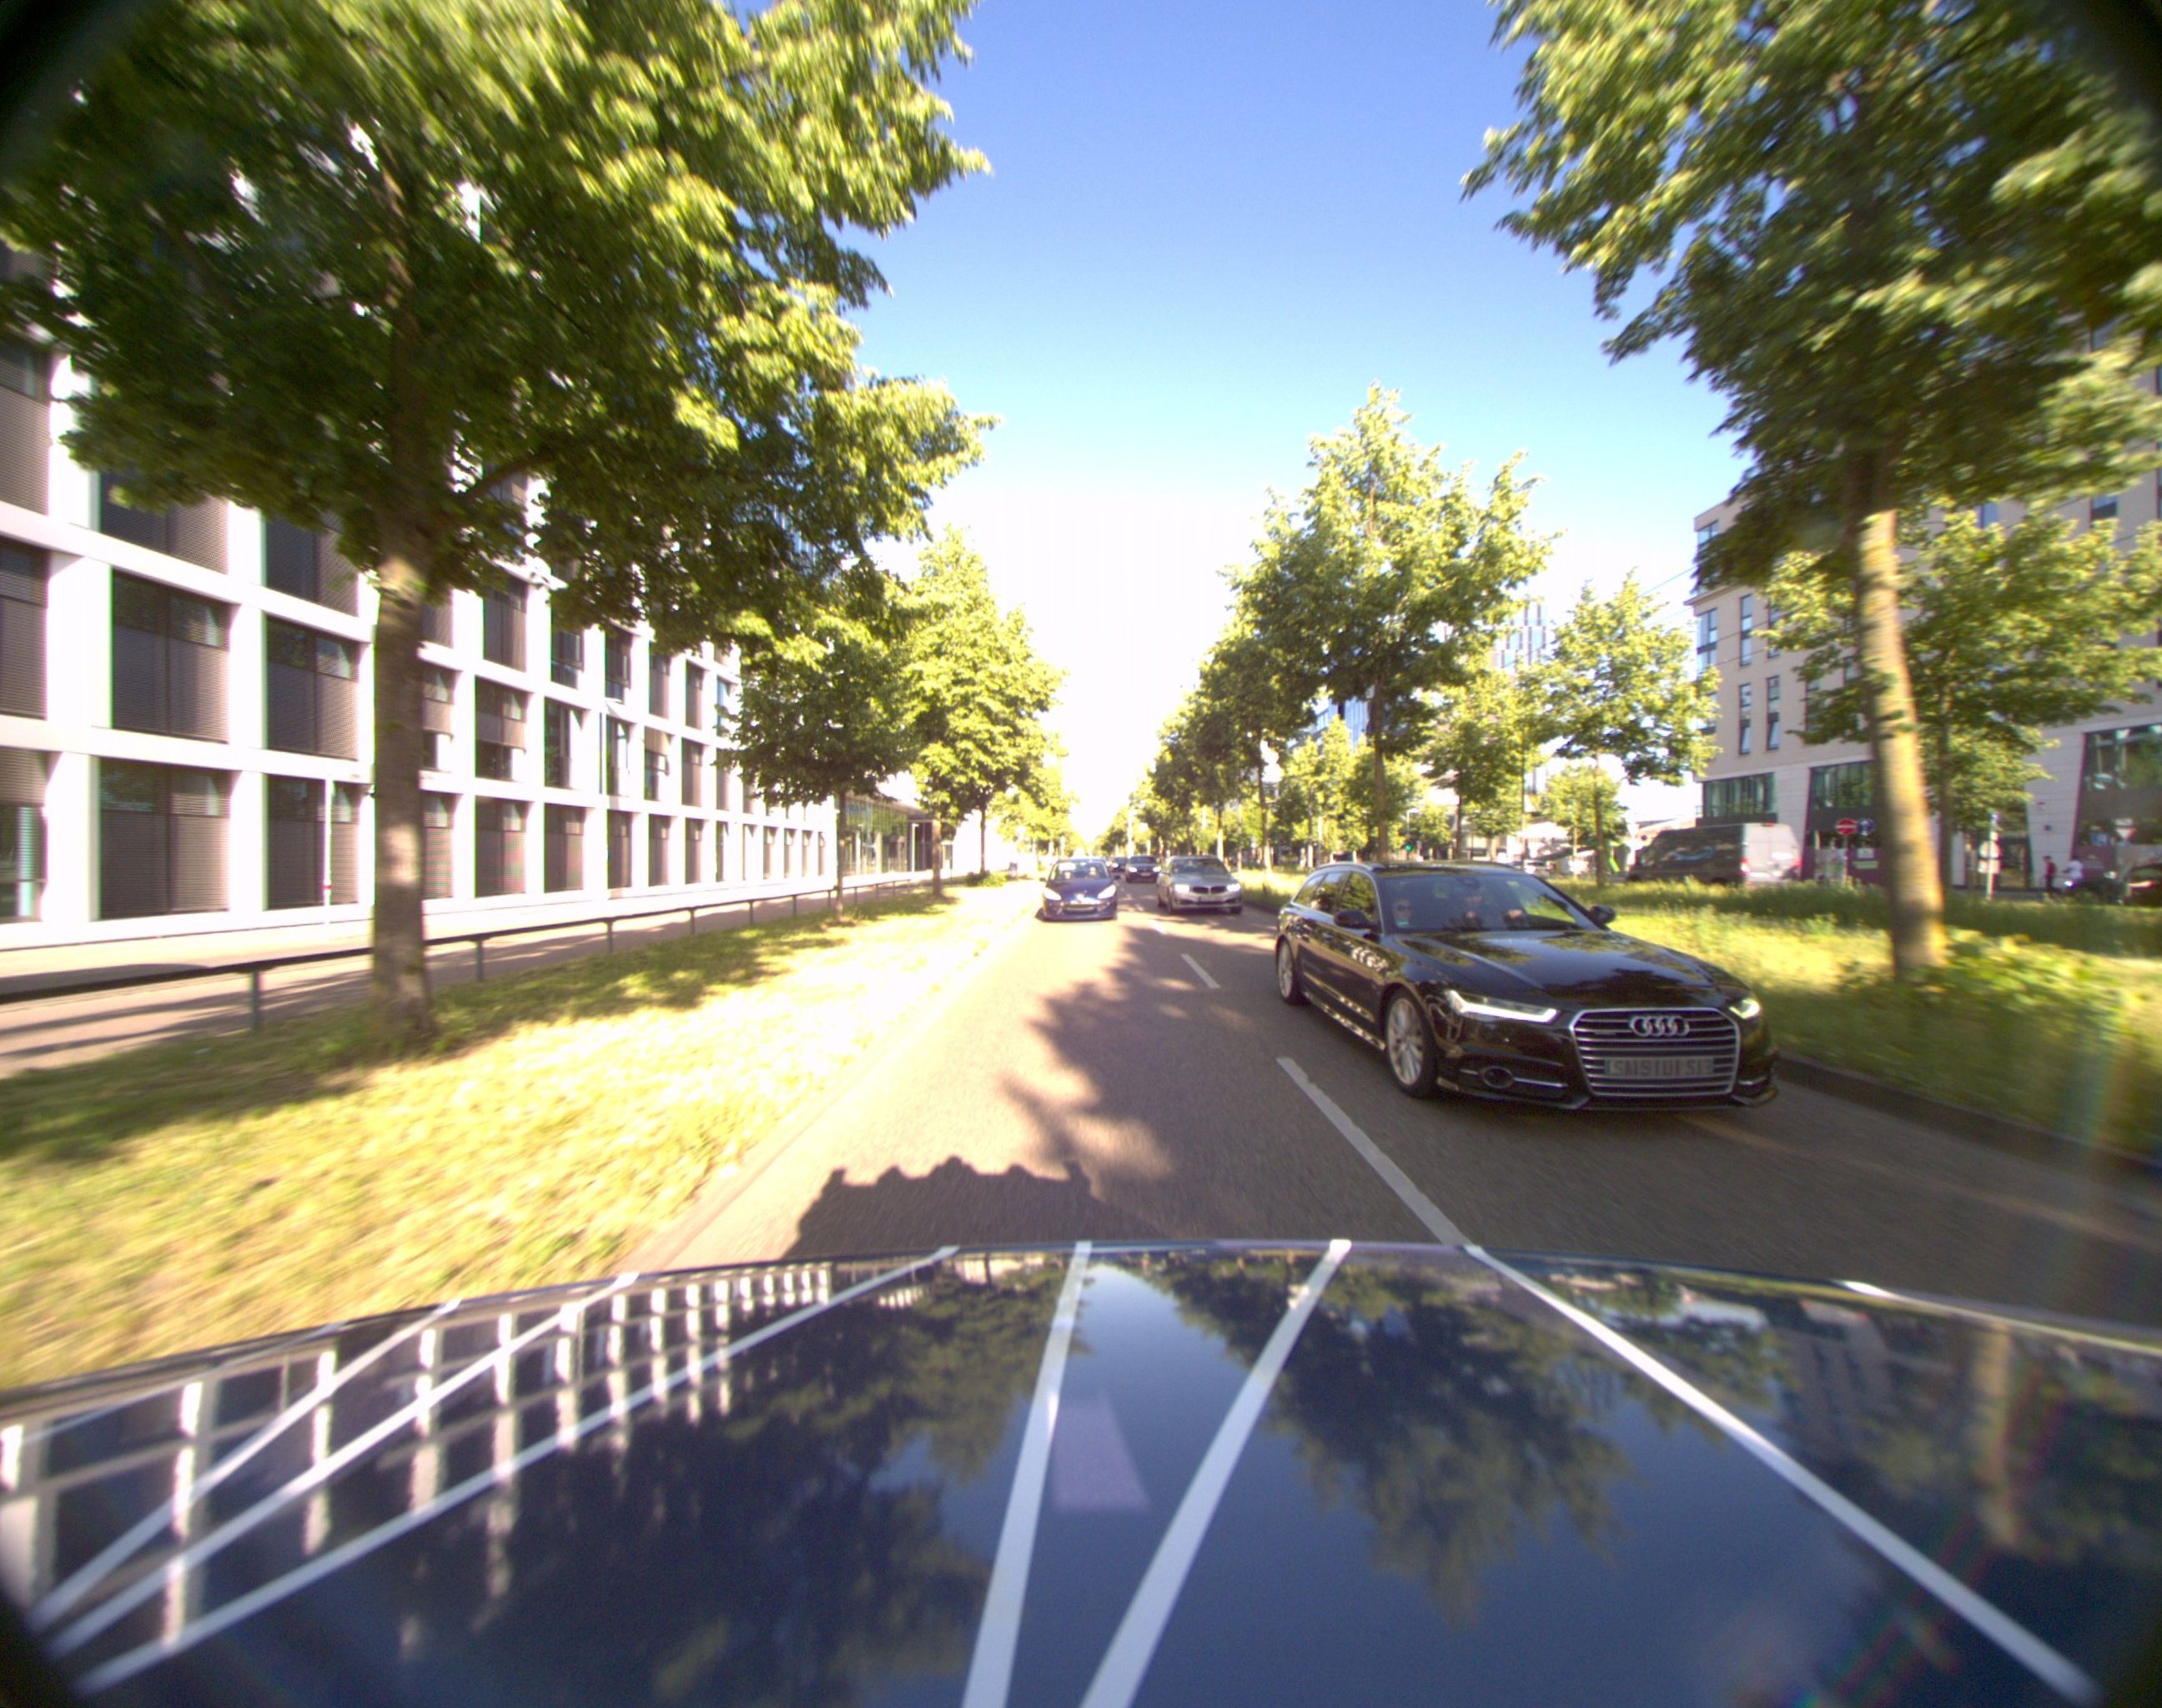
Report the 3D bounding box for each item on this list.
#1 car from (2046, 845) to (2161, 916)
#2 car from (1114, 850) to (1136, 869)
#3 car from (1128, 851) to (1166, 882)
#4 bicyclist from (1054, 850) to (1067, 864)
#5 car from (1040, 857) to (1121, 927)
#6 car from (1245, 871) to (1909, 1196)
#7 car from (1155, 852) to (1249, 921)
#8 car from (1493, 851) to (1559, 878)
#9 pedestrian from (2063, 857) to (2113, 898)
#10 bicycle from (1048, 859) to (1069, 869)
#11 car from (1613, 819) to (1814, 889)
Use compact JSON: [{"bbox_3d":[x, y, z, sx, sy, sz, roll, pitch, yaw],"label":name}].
[{"bbox_3d":[31.755,0.752,21.919,1.999,2.002,4.553,0,0,-2],"label":"car"},{"bbox_3d":[3.954,0.478,68.695,1.782,1.571,3.783,-2,1,1],"label":"car"},{"bbox_3d":[3.612,0.657,42.310,1.950,1.513,4.000,-2,1,3],"label":"car"},{"bbox_3d":[-1.867,0.252,69.099,1.086,1.315,0.639,0,0,4],"label":"bicyclist"},{"bbox_3d":[0.067,0.848,18.836,1.766,1.462,4.000,-2,1,2],"label":"car"},{"bbox_3d":[2.882,0.893,6.103,1.958,1.471,5.085,0,-1,-1],"label":"car"},{"bbox_3d":[3.080,0.762,20.168,1.886,1.569,4.277,-2,1,1],"label":"car"},{"bbox_3d":[32.328,0.709,55.359,2.106,1.798,4.420,-2,1,-1],"label":"car"},{"bbox_3d":[38.892,0.880,29.348,0.657,1.528,0.964,-2,1,5],"label":"pedestrian"},{"bbox_3d":[-2.040,0.907,69.126,1.927,0.899,0.647,0,0,4],"label":"bicycle"},{"bbox_3d":[24.150,-0.025,29.469,2.513,2.367,6.025,-2,1,-4],"label":"car"}]
